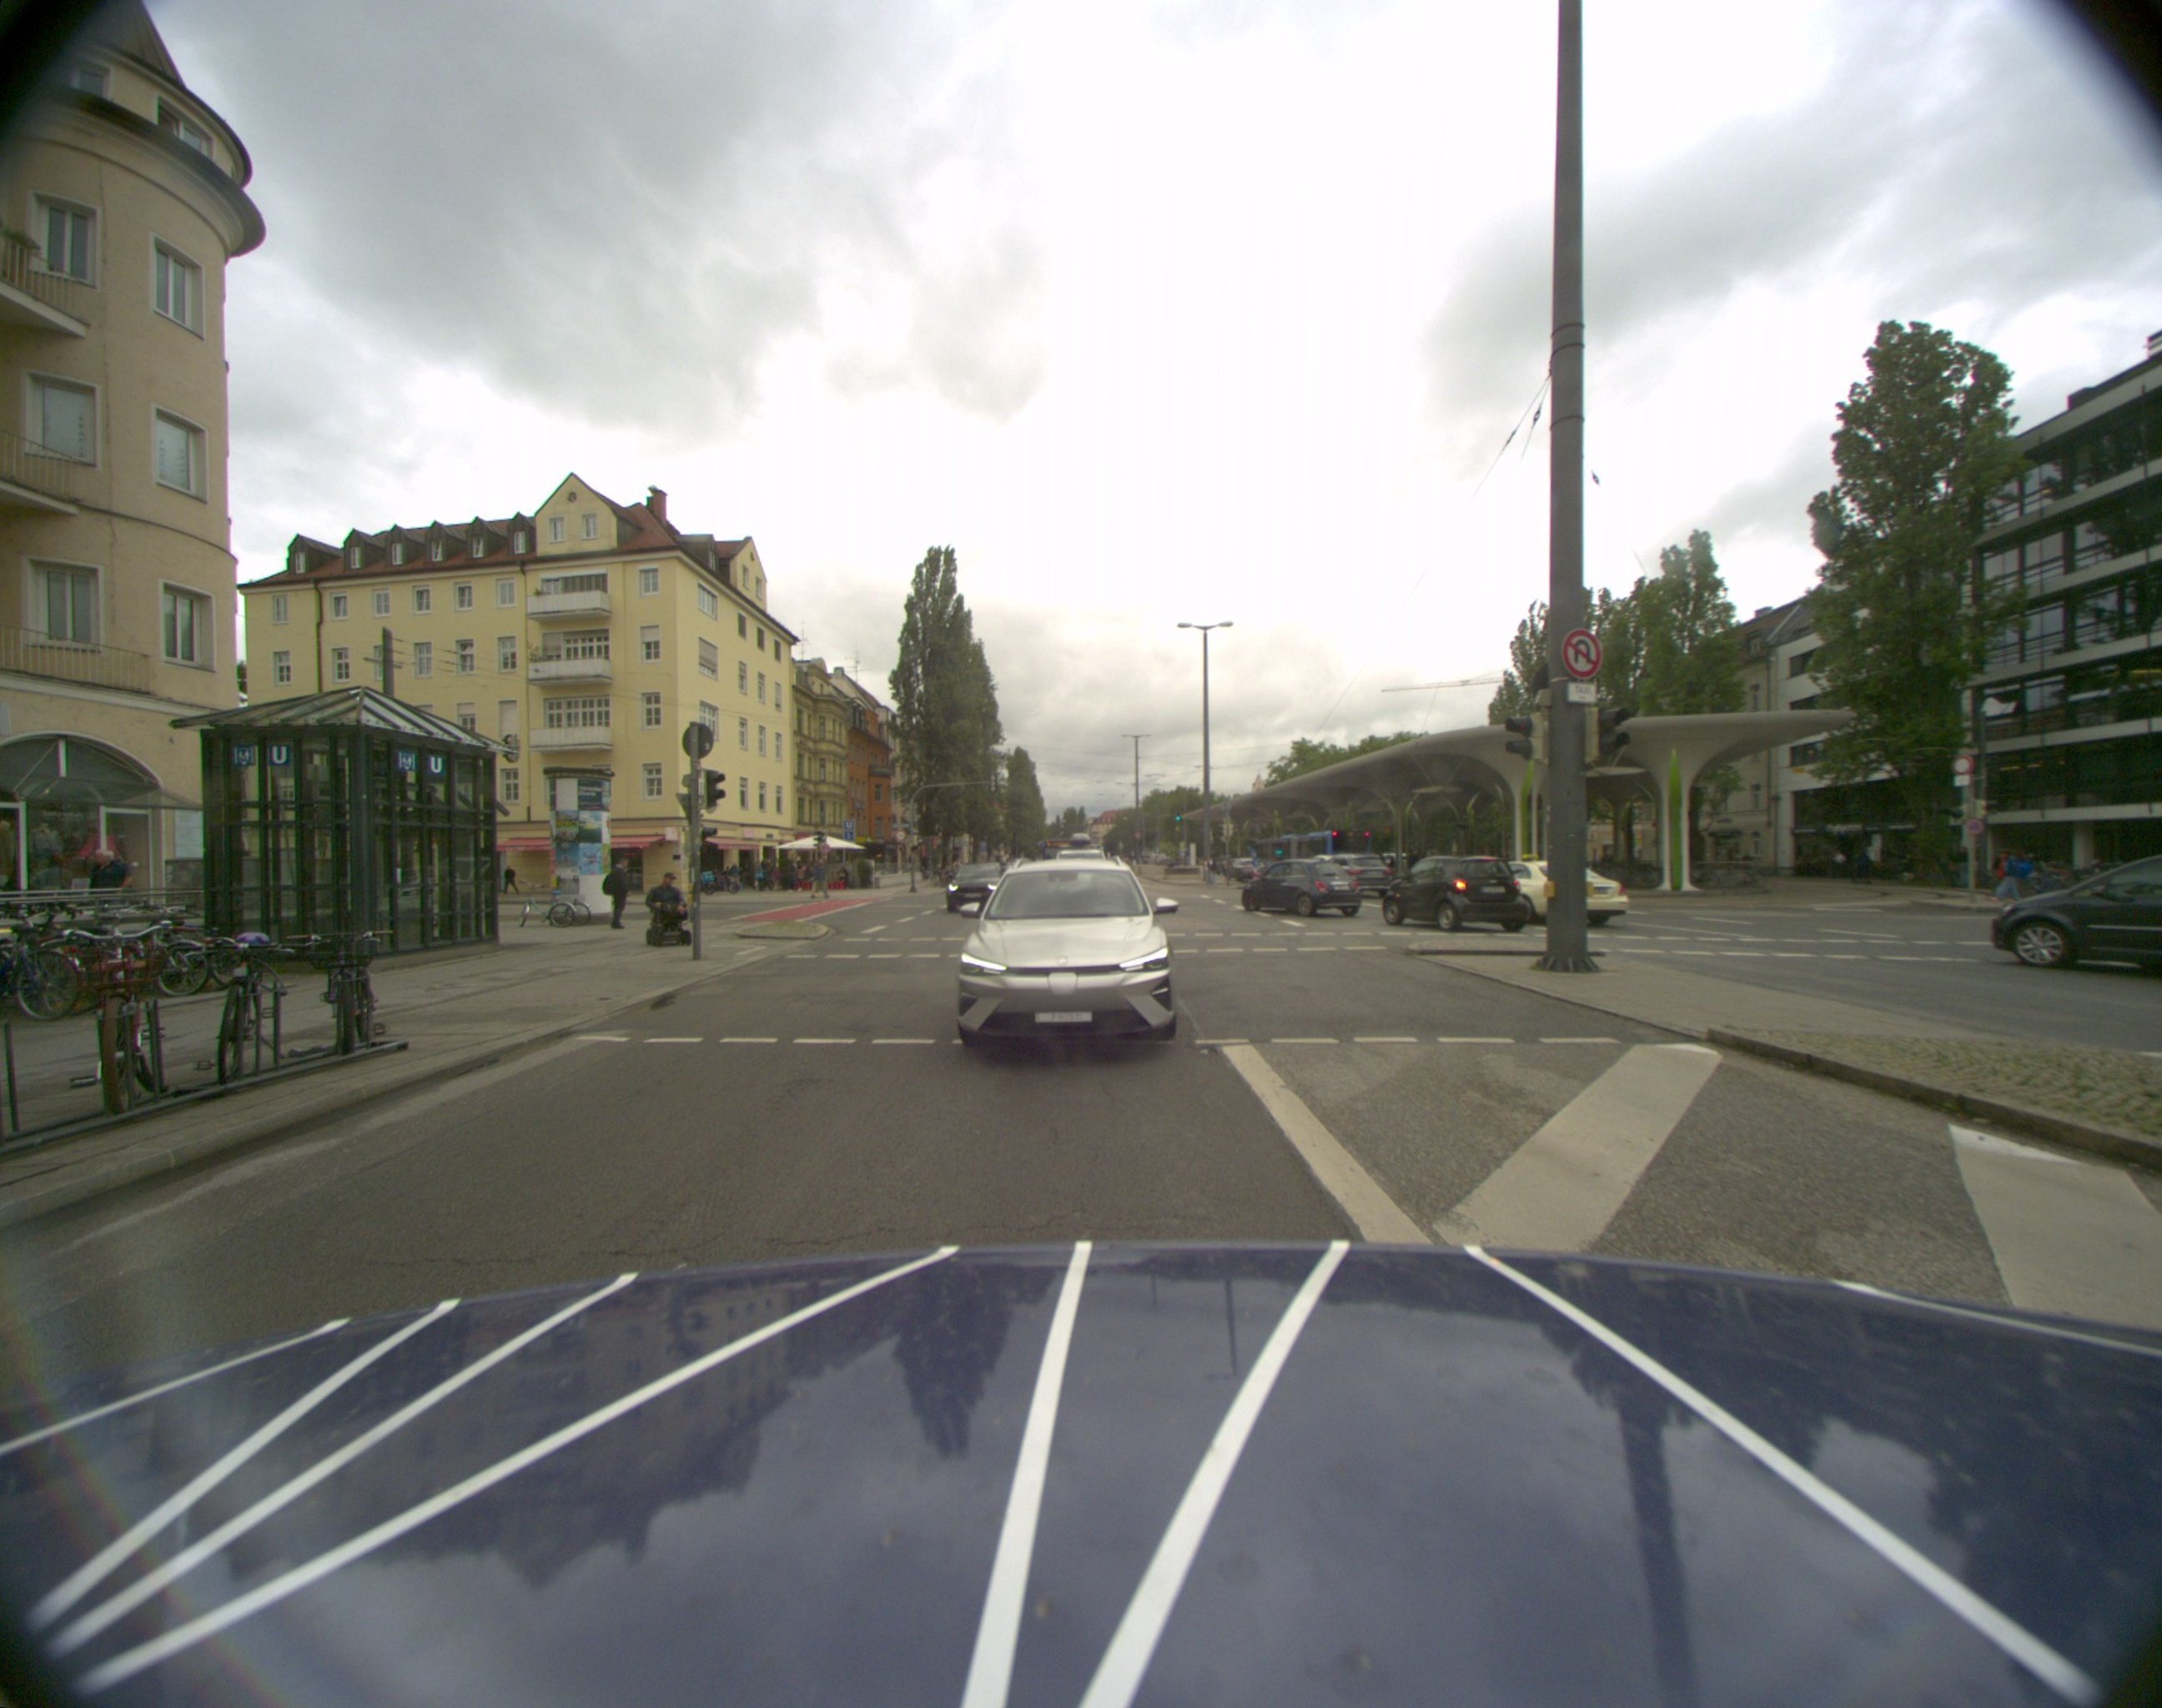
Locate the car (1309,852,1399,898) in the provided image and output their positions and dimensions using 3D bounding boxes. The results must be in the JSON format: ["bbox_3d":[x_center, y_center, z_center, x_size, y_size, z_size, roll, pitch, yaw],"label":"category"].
[{"bbox_3d":[10.618,0.762,29.912,1.748,1.660,4.731,-1,0,-1],"label":"car"}]

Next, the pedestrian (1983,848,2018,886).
[{"bbox_3d":[44.826,0.631,37.059,0.720,1.790,0.828,-1,1,11],"label":"pedestrian"}]

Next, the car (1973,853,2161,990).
[{"bbox_3d":[13.659,0.792,8.734,1.843,1.604,4.258,-1,0,1],"label":"car"}]

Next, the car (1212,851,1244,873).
[{"bbox_3d":[11.667,0.622,60.501,1.787,1.652,4.000,-1,0,0],"label":"car"}]

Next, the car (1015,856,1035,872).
[{"bbox_3d":[-5.823,1.064,79.672,1.780,1.515,3.969,-1,1,0],"label":"car"}]

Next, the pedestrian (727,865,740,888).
[{"bbox_3d":[-19.479,1.261,42.617,0.479,1.291,0.527,-1,1,-2],"label":"pedestrian"}]

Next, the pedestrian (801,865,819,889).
[{"bbox_3d":[-15.052,1.255,42.206,0.679,1.304,0.796,-1,1,0],"label":"pedestrian"}]

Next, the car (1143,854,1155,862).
[{"bbox_3d":[13.956,0.776,155.837,1.999,1.561,4.101,-1,0,-1],"label":"car"}]

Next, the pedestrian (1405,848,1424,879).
[{"bbox_3d":[18.144,0.521,41.310,0.633,1.665,0.746,-2,1,-41],"label":"pedestrian"}]

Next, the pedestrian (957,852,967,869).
[{"bbox_3d":[-11.122,0.606,71.275,0.762,1.553,0.763,-1,0,1],"label":"pedestrian"}]

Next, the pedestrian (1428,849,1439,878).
[{"bbox_3d":[19.331,0.518,41.670,0.519,1.579,0.481,-1,0,31],"label":"pedestrian"}]

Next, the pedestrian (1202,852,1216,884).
[{"bbox_3d":[6.582,0.708,39.067,0.520,1.609,0.465,0,1,43],"label":"pedestrian"}]

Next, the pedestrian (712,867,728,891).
[{"bbox_3d":[-19.799,1.346,41.667,0.515,1.284,0.703,-1,1,-2],"label":"pedestrian"}]

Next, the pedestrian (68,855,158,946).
[{"bbox_3d":[-18.438,0.889,14.485,0.746,1.694,0.683,0,-3,0],"label":"pedestrian"}]

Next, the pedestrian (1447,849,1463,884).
[{"bbox_3d":[18.831,0.623,38.235,0.548,1.710,0.615,-1,1,7],"label":"pedestrian"}]

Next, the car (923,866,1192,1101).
[{"bbox_3d":[-0.124,0.941,7.745,1.812,1.496,4.952,-2,0,1],"label":"car"}]

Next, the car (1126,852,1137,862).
[{"bbox_3d":[10.175,0.629,154.403,1.911,1.829,3.868,-1,0,-1],"label":"car"}]

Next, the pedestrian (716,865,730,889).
[{"bbox_3d":[-20.056,1.295,42.554,0.479,1.291,0.527,-1,1,-2],"label":"pedestrian"}]

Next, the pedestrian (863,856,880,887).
[{"bbox_3d":[-11.903,0.990,43.198,0.884,1.733,0.857,-1,1,-16],"label":"pedestrian"}]

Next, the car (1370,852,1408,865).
[{"bbox_3d":[37.810,0.578,93.310,3.994,1.606,1.832,-1,0,8],"label":"car"}]

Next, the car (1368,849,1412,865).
[{"bbox_3d":[39.129,0.399,96.406,4.923,1.936,1.872,-1,0,10],"label":"car"}]

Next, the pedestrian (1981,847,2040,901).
[{"bbox_3d":[29.039,0.619,23.745,0.857,1.632,0.790,-1,0,4],"label":"pedestrian"}]

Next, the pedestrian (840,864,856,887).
[{"bbox_3d":[-13.205,1.205,43.064,0.679,1.303,0.796,-1,1,0],"label":"pedestrian"}]

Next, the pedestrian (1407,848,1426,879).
[{"bbox_3d":[18.712,0.503,42.333,0.758,1.701,0.703,-1,1,-41],"label":"pedestrian"}]

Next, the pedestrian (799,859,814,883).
[{"bbox_3d":[-16.499,1.044,45.682,0.677,1.414,0.616,-1,1,0],"label":"pedestrian"}]

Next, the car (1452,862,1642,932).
[{"bbox_3d":[10.954,0.931,18.321,1.769,1.413,4.639,-1,0,1],"label":"car"}]

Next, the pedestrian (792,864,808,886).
[{"bbox_3d":[-15.952,1.197,43.120,0.627,1.196,0.700,-1,1,0],"label":"pedestrian"}]

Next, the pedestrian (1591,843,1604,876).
[{"bbox_3d":[30.409,0.330,44.733,0.484,1.921,0.422,-1,1,-29],"label":"pedestrian"}]

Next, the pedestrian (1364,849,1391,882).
[{"bbox_3d":[15.323,0.604,39.263,0.975,1.671,0.839,-1,1,-33],"label":"pedestrian"}]

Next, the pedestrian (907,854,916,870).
[{"bbox_3d":[-18.715,0.906,83.865,0.748,1.704,1.017,-1,1,0],"label":"pedestrian"}]

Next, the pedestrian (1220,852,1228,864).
[{"bbox_3d":[19.285,0.517,102.395,0.739,1.619,0.741,-1,1,-21],"label":"pedestrian"}]

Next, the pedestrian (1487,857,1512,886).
[{"bbox_3d":[21.490,0.886,39.044,1.022,1.444,0.856,0,0,35],"label":"pedestrian"}]

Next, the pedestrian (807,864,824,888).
[{"bbox_3d":[-15.048,1.253,43.095,0.679,1.304,0.796,-1,1,0],"label":"pedestrian"}]

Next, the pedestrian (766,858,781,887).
[{"bbox_3d":[-18.517,1.087,45.737,0.602,1.729,0.666,-1,1,0],"label":"pedestrian"}]

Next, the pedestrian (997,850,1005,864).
[{"bbox_3d":[-10.130,0.388,96.515,0.699,1.770,0.652,-2,0,33],"label":"pedestrian"}]

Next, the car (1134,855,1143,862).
[{"bbox_3d":[13.395,1.108,176.907,1.893,1.521,4.000,0,0,0],"label":"car"}]

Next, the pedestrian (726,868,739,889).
[{"bbox_3d":[-20.056,1.400,43.700,0.479,1.159,0.527,-1,1,-2],"label":"pedestrian"}]

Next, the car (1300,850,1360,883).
[{"bbox_3d":[12.795,0.606,39.274,1.703,1.586,3.999,-1,0,-1],"label":"car"}]

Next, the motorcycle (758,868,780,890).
[{"bbox_3d":[-17.129,1.362,41.753,0.487,1.149,1.571,-1,0,0],"label":"motorcycle"}]

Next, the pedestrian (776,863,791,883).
[{"bbox_3d":[-17.893,1.128,45.692,0.602,1.215,0.666,-1,1,0],"label":"pedestrian"}]

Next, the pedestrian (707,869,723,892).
[{"bbox_3d":[-19.677,1.412,40.815,0.515,1.175,0.703,-1,1,-2],"label":"pedestrian"}]

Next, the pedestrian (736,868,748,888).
[{"bbox_3d":[-19.526,1.373,43.772,0.479,1.159,0.527,-1,1,-2],"label":"pedestrian"}]

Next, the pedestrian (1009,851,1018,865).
[{"bbox_3d":[-8.772,0.549,98.437,0.881,1.791,0.757,-2,0,10],"label":"pedestrian"}]

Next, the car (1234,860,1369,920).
[{"bbox_3d":[5.847,0.892,20.533,1.552,1.437,3.532,-1,0,-26],"label":"car"}]

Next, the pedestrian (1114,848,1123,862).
[{"bbox_3d":[4.921,0.151,100.058,0.862,1.801,0.895,-3,2,-32],"label":"pedestrian"}]

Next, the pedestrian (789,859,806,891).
[{"bbox_3d":[-14.967,1.093,40.111,0.762,1.685,0.766,-1,1,-25],"label":"pedestrian"}]

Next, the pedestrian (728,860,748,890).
[{"bbox_3d":[-18.692,1.148,41.393,0.712,1.623,0.786,-1,1,0],"label":"pedestrian"}]

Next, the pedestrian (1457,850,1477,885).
[{"bbox_3d":[19.970,0.688,39.347,0.805,1.806,0.706,-1,1,15],"label":"pedestrian"}]

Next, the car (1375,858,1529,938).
[{"bbox_3d":[7.681,0.847,15.982,1.508,1.525,2.834,0,0,-11],"label":"car"}]

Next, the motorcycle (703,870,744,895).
[{"bbox_3d":[-17.825,1.404,37.868,1.769,1.193,0.541,-1,1,-30],"label":"motorcycle"}]

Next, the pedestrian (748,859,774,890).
[{"bbox_3d":[-17.806,1.128,42.290,0.836,1.673,1.041,0,1,32],"label":"pedestrian"}]

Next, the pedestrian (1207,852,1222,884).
[{"bbox_3d":[6.825,0.696,38.737,0.488,1.609,0.556,-1,1,-35],"label":"pedestrian"}]

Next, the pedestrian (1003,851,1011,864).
[{"bbox_3d":[-9.499,0.460,97.175,0.758,1.628,0.699,-1,0,-43],"label":"pedestrian"}]

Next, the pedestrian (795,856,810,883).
[{"bbox_3d":[-17.011,0.928,46.419,0.616,1.623,0.677,-1,1,0],"label":"pedestrian"}]

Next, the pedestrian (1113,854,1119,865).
[{"bbox_3d":[6.300,0.978,137.241,1.011,2.002,0.915,-3,1,1],"label":"pedestrian"}]

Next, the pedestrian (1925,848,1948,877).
[{"bbox_3d":[46.708,0.482,41.502,0.593,1.583,0.674,0,0,22],"label":"pedestrian"}]

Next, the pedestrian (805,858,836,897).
[{"bbox_3d":[-12.063,1.089,35.204,0.935,1.745,1.066,-1,0,12],"label":"pedestrian"}]

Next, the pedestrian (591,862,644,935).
[{"bbox_3d":[-11.176,1.045,18.345,0.834,1.681,0.821,0,1,37],"label":"pedestrian"}]
